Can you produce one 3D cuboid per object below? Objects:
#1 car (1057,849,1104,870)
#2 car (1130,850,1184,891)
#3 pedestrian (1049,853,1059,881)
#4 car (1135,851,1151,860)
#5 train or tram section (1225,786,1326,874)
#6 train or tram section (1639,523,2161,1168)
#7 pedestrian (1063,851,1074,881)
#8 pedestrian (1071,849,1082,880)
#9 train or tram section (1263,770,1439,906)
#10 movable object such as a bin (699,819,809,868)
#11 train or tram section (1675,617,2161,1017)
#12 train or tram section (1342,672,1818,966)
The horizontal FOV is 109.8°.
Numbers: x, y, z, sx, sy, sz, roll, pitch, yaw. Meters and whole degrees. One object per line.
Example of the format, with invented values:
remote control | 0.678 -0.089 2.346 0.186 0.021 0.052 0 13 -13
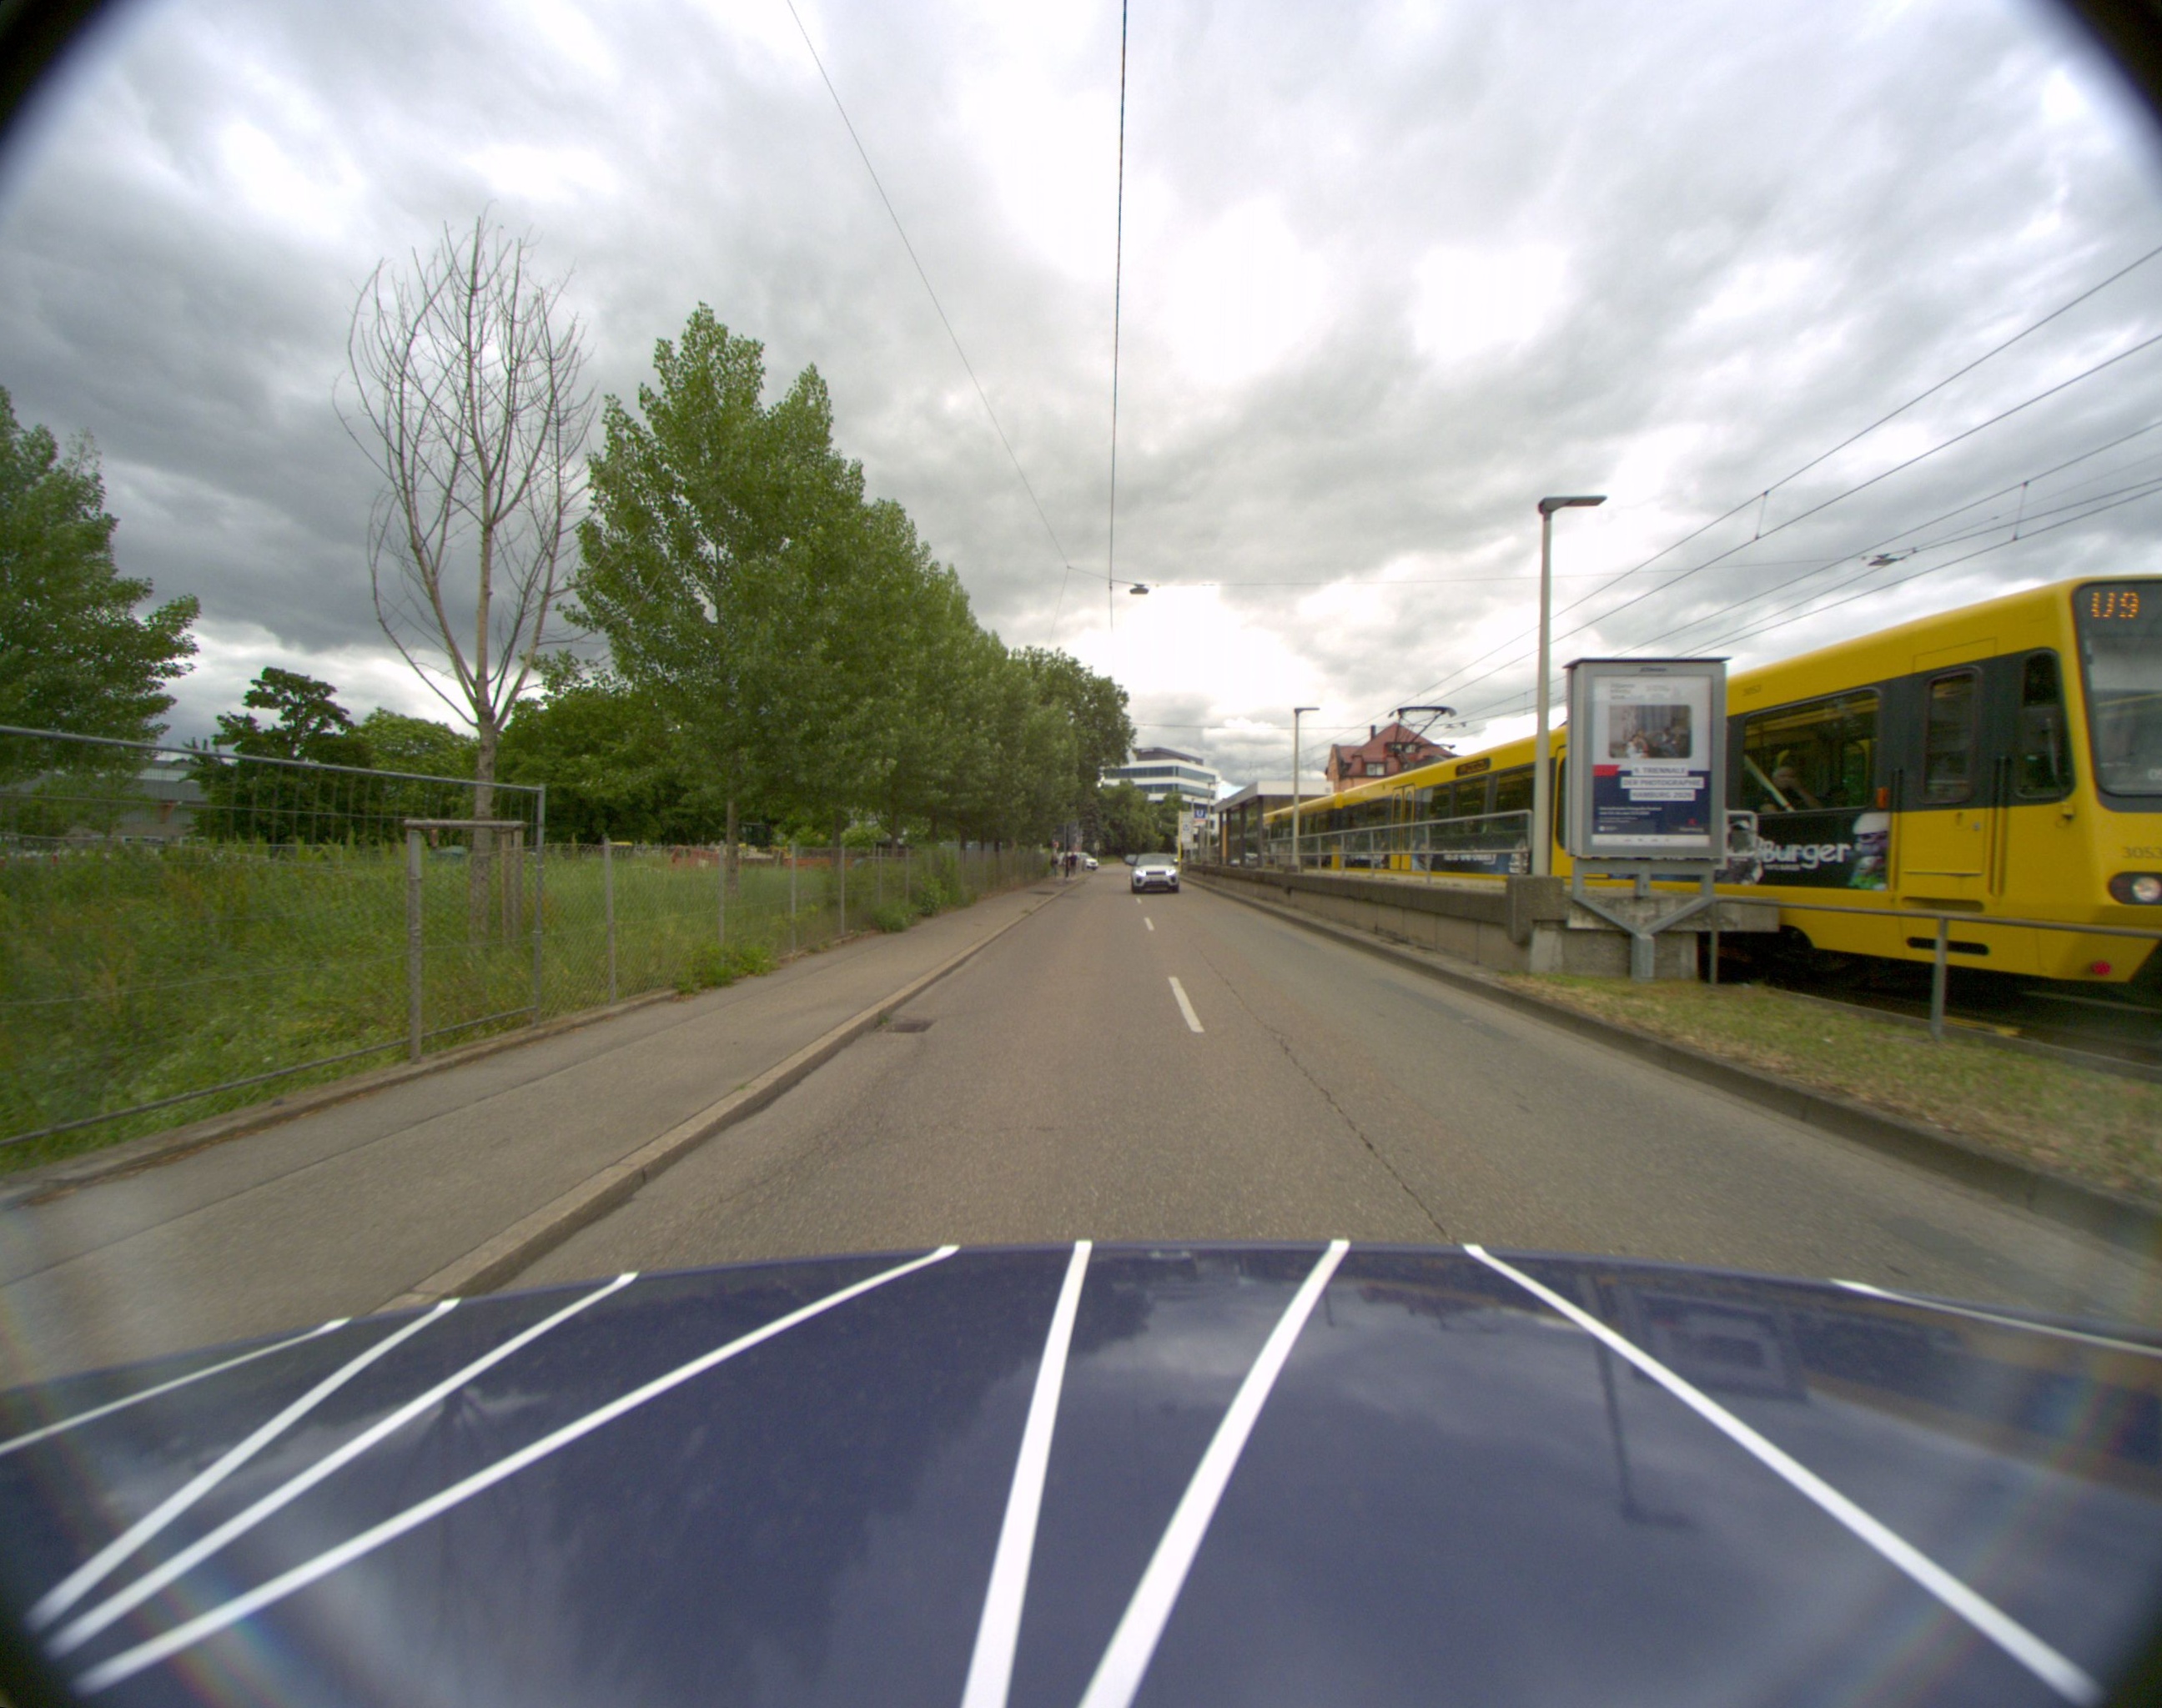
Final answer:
car | -0.058 0.536 77.628 4.526 2.007 2.046 0 1 40
car | 3.135 0.654 32.100 1.916 1.560 4.113 -1 1 1
pedestrian | -1.689 0.826 47.524 0.604 1.681 0.671 1 4 4
car | 9.497 0.228 116.209 1.746 1.418 4.170 0 0 16
train or tram section | 9.854 -1.039 40.086 2.747 3.943 11.915 1 0 3
train or tram section | 8.242 -0.050 4.318 2.978 4.041 10.199 1 0 3
pedestrian | -0.768 0.748 47.642 0.604 1.857 0.672 1 2 4
pedestrian | -0.275 0.611 46.817 0.604 1.858 0.671 1 4 4
train or tram section | 9.296 -0.422 28.152 2.747 3.943 11.915 1 0 3
movable object such as a bin | -15.011 -0.566 35.137 1.994 2.003 4.301 3 4 27
train or tram section | 11.279 -0.358 8.764 1.998 3.774 9.180 1 1 3
train or tram section | 8.771 -0.422 16.211 2.747 3.943 11.915 1 0 3
